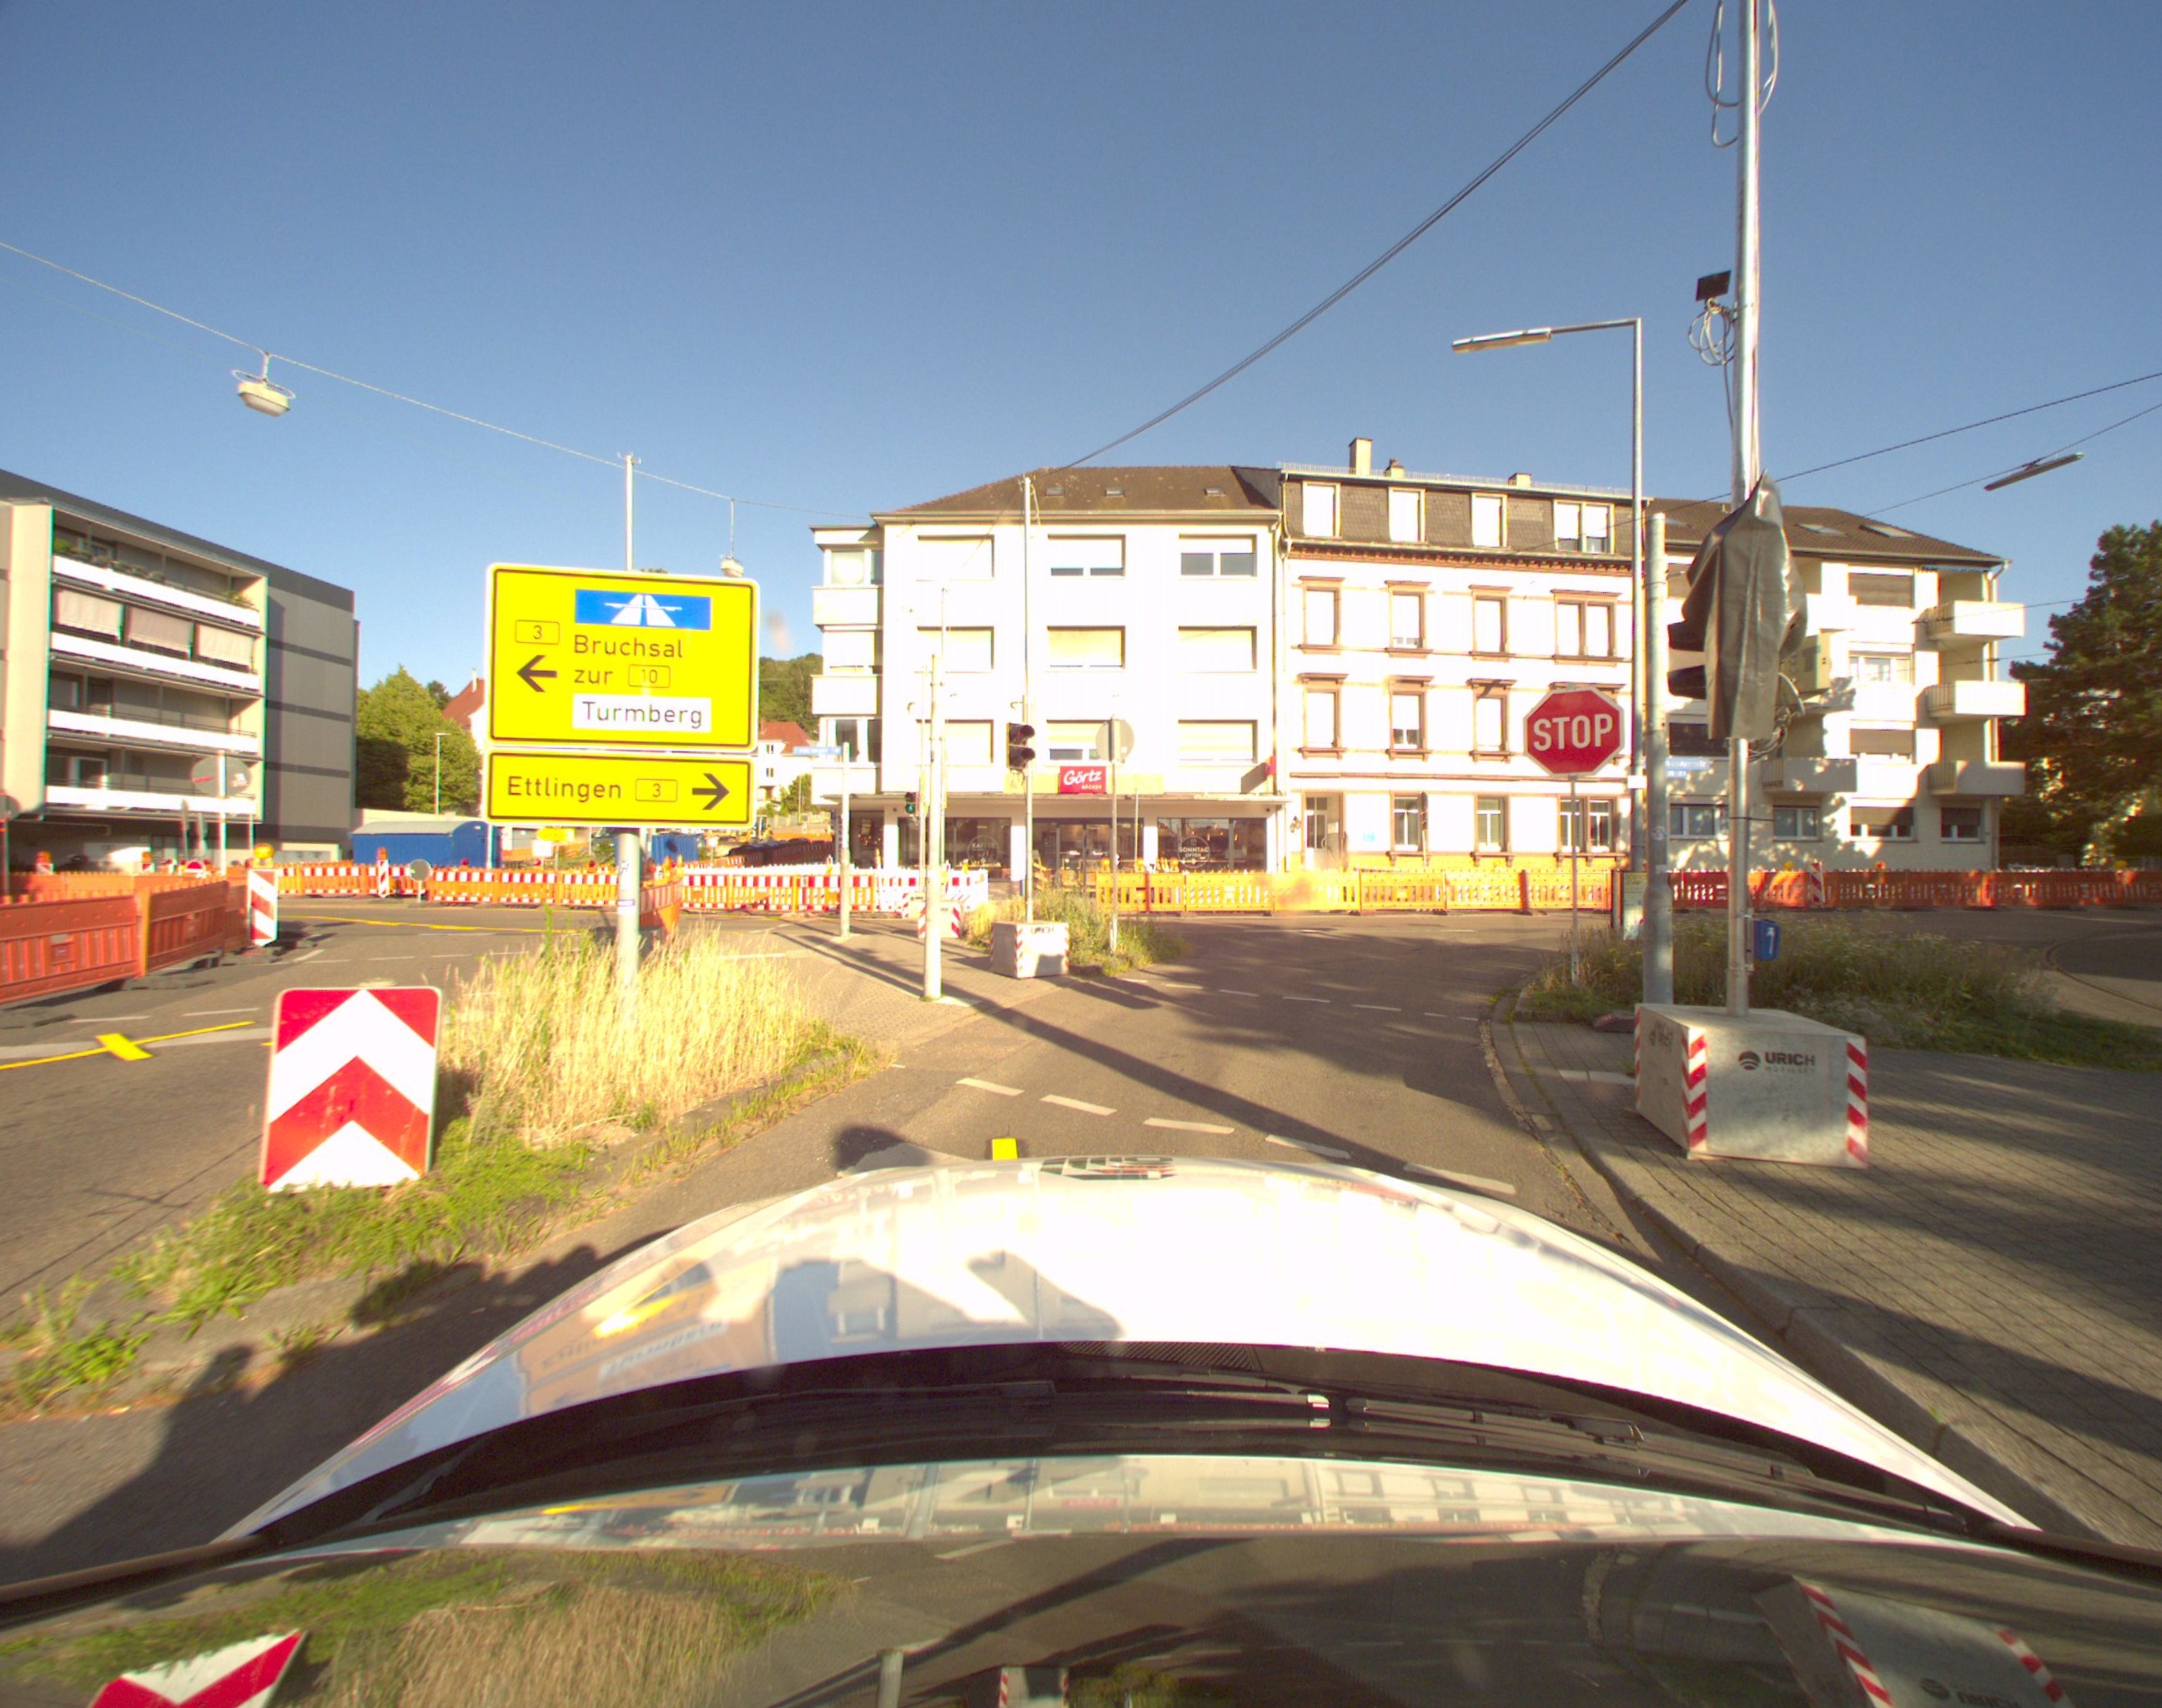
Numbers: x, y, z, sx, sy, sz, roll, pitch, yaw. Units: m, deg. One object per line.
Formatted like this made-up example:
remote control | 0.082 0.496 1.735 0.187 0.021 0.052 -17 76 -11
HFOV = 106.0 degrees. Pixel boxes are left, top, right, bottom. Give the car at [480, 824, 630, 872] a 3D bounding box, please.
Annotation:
car | -25.188 -0.252 39.374 2.568 2.121 6.167 -1 0 9

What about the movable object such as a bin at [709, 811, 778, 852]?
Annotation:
movable object such as a bin | -21.822 -1.416 52.846 1.936 2.494 4.564 -1 0 10
